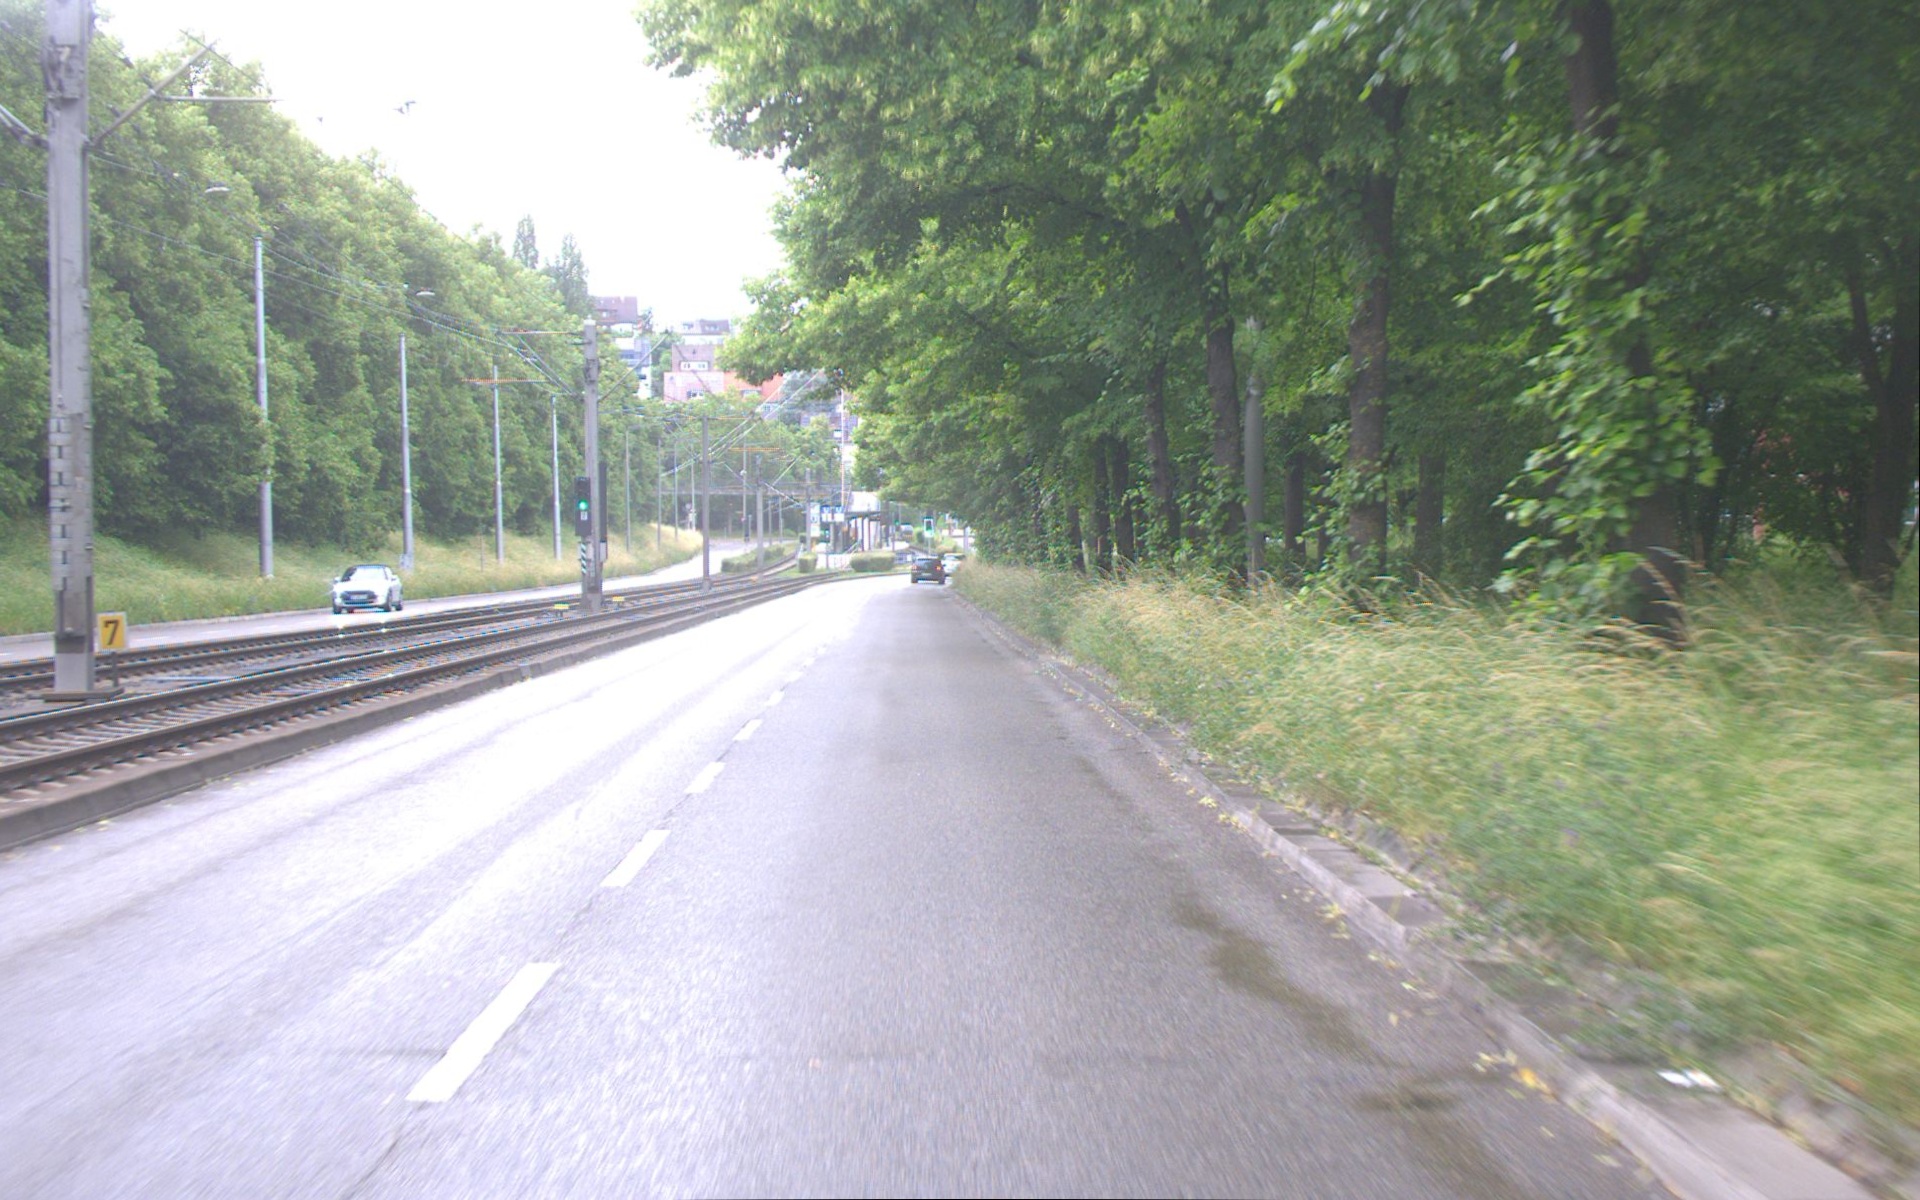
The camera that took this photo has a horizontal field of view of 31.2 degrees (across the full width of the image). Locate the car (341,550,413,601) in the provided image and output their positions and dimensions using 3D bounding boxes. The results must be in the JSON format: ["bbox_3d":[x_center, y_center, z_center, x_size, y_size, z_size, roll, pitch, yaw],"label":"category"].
[{"bbox_3d":[-17.509,-0.753,103.437,1.476,1.431,3.909,-2,1,0],"label":"car"}]

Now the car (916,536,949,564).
[{"bbox_3d":[-1.646,-3.036,206.510,1.993,1.645,4.000,0,1,0],"label":"car"}]

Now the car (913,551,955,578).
[{"bbox_3d":[-1.404,-1.900,184.159,2.194,1.325,4.001,0,2,-1],"label":"car"}]
